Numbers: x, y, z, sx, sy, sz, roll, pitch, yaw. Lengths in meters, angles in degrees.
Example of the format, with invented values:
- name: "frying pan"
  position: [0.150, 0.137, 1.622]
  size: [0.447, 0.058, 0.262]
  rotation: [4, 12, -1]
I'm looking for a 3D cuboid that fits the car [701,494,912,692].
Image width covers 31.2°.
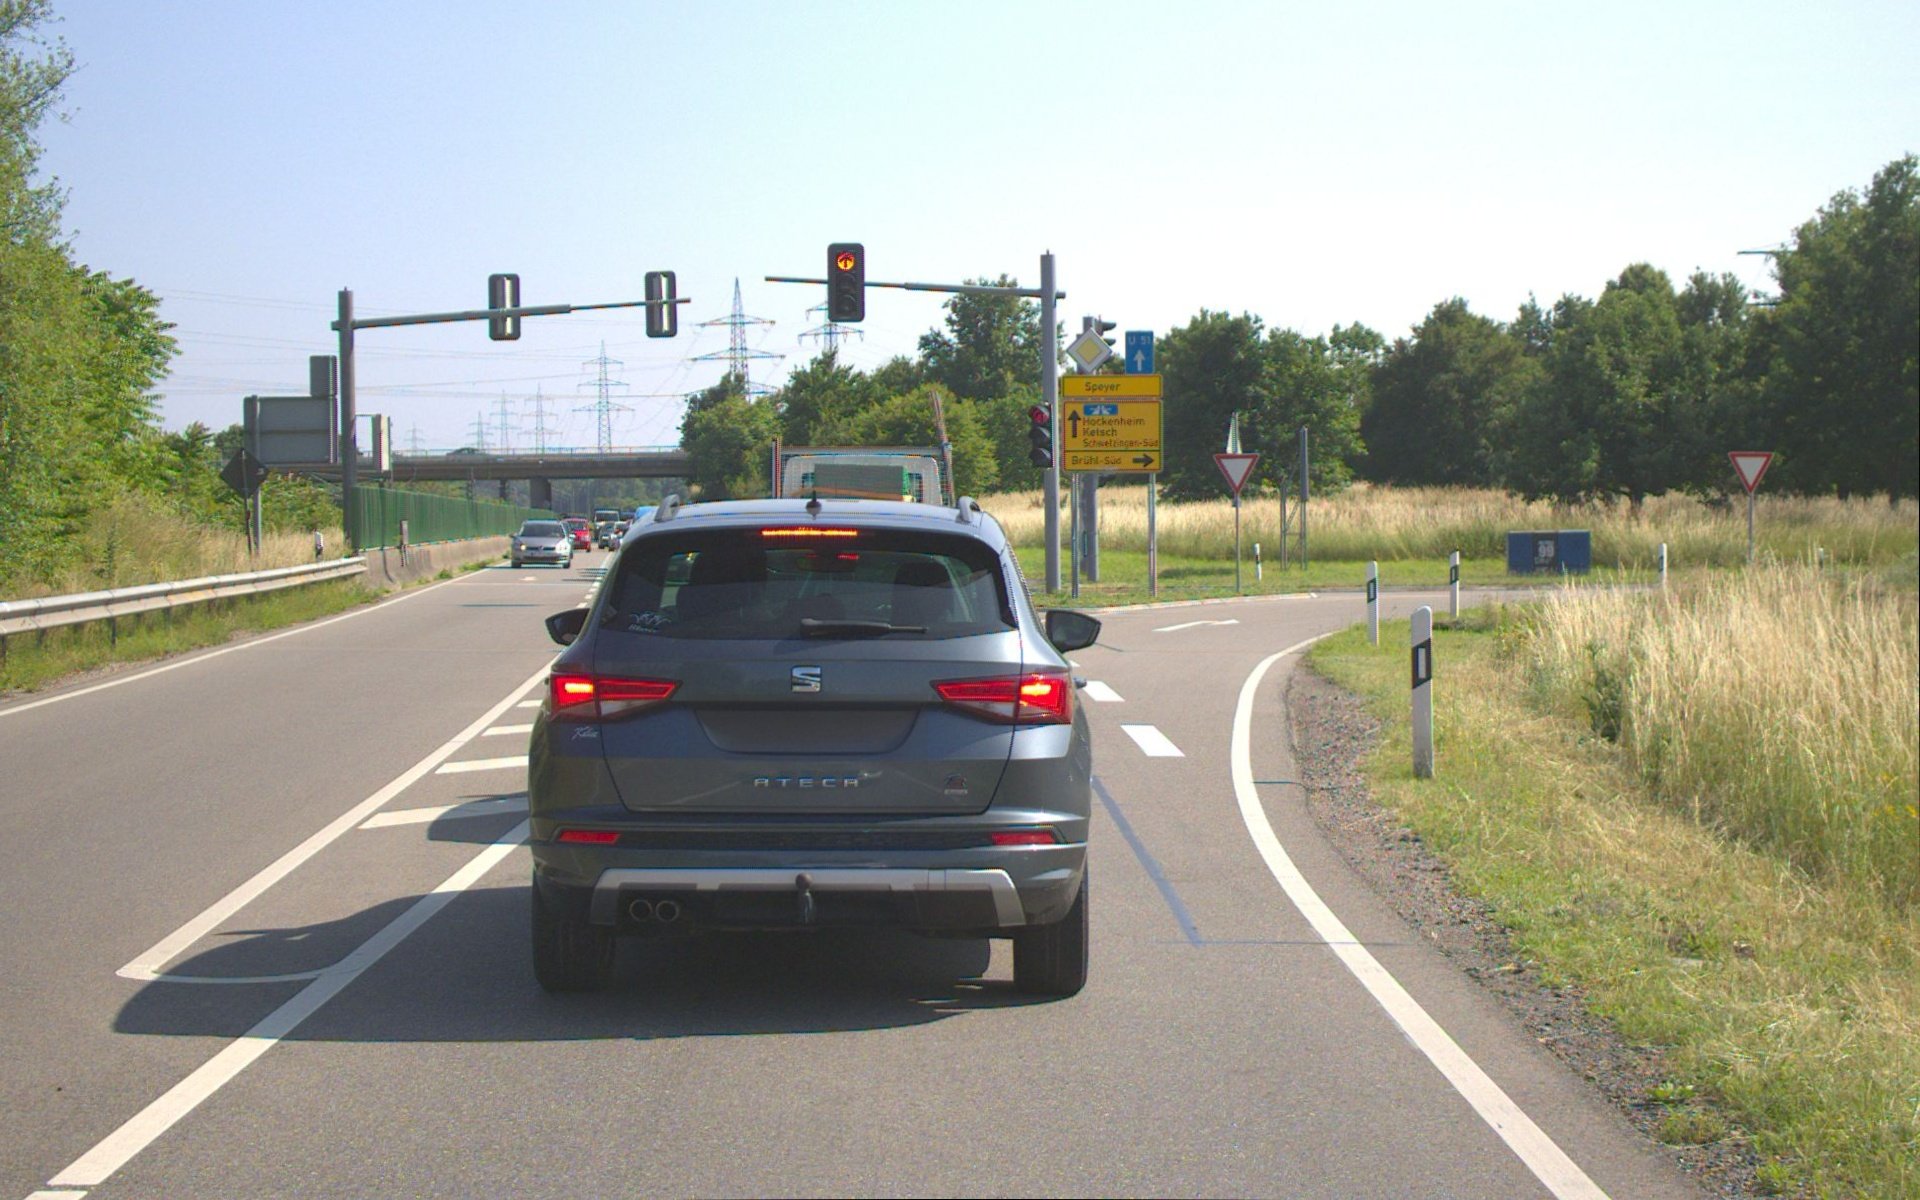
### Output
- name: "car"
  position: [-1.410, -0.122, 31.410]
  size: [1.785, 1.670, 4.001]
  rotation: [-1, 2, -3]

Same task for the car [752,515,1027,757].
- name: "car"
  position: [-0.556, 0.186, 24.430]
  size: [1.785, 1.538, 4.001]
  rotation: [-1, 2, -3]

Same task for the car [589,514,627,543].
- name: "car"
  position: [-16.996, -3.459, 165.929]
  size: [1.761, 1.329, 4.001]
  rotation: [-1, 2, -6]

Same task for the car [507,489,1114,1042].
- name: "car"
  position: [-0.536, 0.425, 12.195]
  size: [1.785, 1.623, 4.001]
  rotation: [-1, 2, -3]

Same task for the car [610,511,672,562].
- name: "car"
  position: [-8.872, -1.772, 95.376]
  size: [1.684, 1.375, 3.534]
  rotation: [0, 2, -6]

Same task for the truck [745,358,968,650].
- name: "truck"
  position: [-1.164, -1.054, 39.028]
  size: [2.337, 3.055, 5.810]
  rotation: [0, 1, -2]

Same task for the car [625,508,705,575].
- name: "car"
  position: [-7.137, -1.439, 83.036]
  size: [1.816, 1.535, 4.001]
  rotation: [-1, 2, -6]

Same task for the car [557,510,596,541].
- name: "car"
  position: [-18.051, -3.523, 161.731]
  size: [1.761, 1.426, 4.001]
  rotation: [-1, 2, -6]

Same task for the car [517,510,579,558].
- name: "car"
  position: [-12.585, -2.035, 105.092]
  size: [1.824, 1.426, 4.001]
  rotation: [-1, 2, -6]
